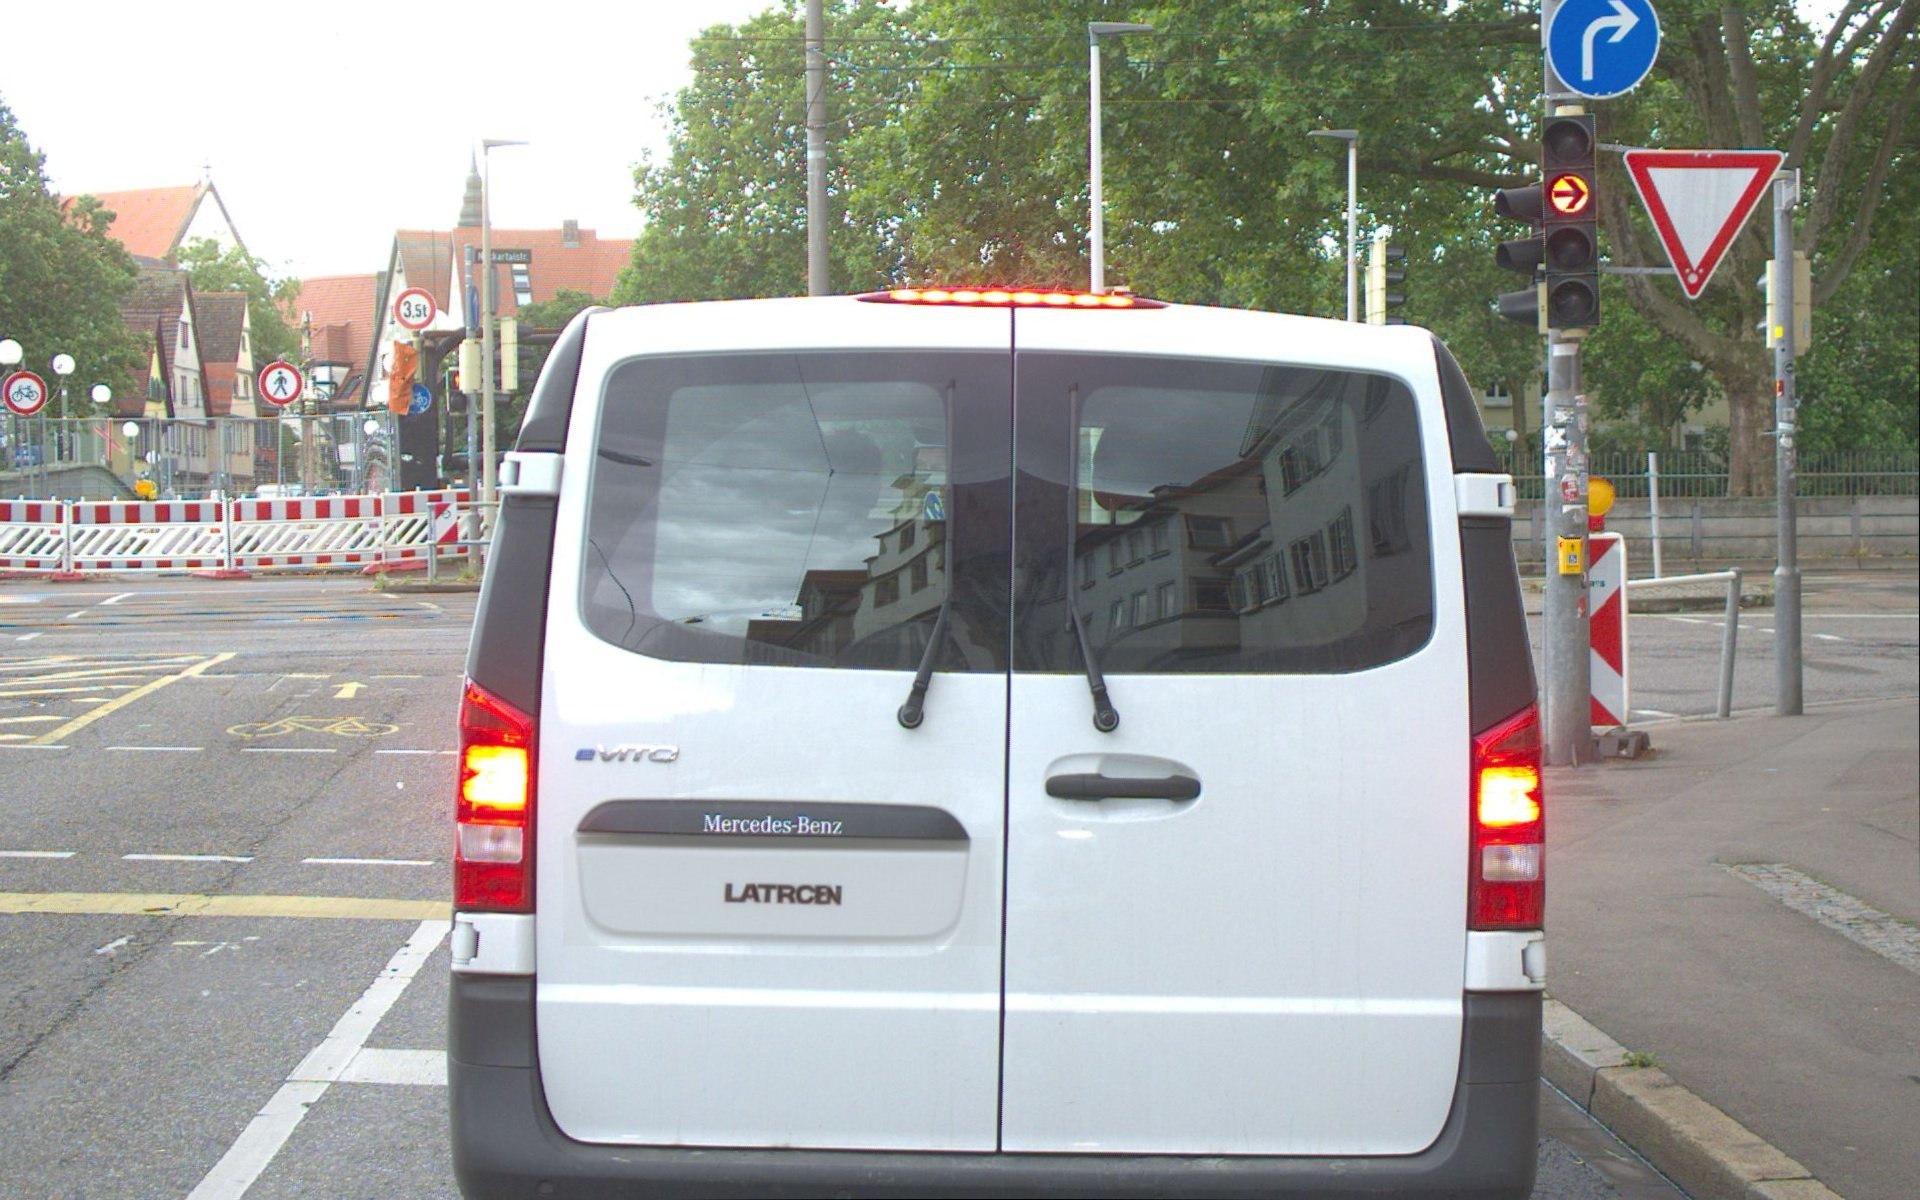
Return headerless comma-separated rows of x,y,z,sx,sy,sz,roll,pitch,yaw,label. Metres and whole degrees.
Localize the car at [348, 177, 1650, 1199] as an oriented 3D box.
0.026,0.280,7.561,1.951,2.006,4.699,1,2,-1,car
